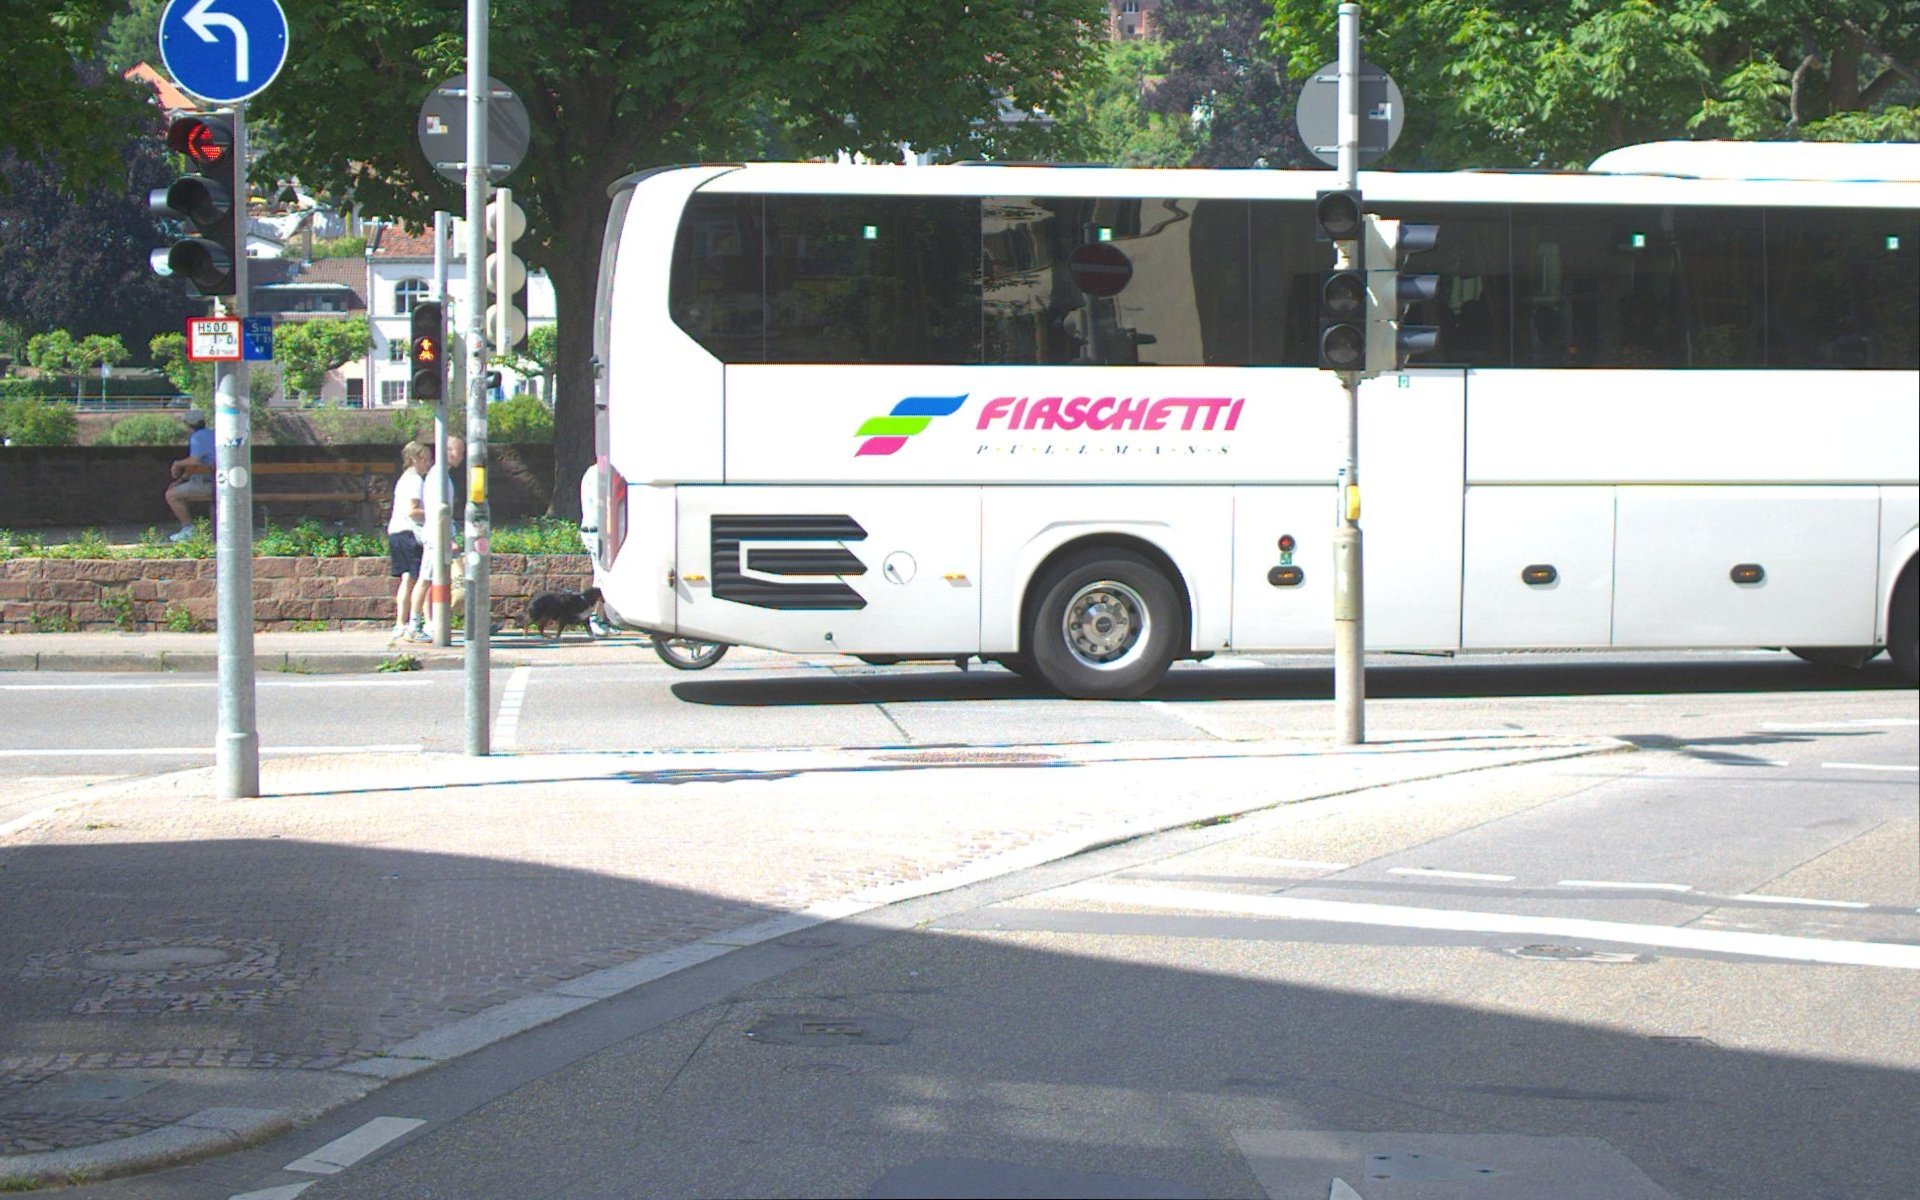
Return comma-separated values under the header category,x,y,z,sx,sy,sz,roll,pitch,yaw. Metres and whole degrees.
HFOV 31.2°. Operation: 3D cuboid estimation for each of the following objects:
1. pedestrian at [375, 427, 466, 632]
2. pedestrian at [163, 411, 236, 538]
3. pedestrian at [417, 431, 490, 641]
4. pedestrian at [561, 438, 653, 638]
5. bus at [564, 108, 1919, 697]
category,x,y,z,sx,sy,sz,roll,pitch,yaw
pedestrian,-4.810,-0.631,30.681,0.721,1.795,0.634,-1,1,-5
pedestrian,-7.396,-1.217,33.433,0.641,1.224,0.414,-1,2,-18
pedestrian,-4.390,-0.560,29.826,0.578,1.795,0.705,0,2,-5
pedestrian,-3.175,-0.553,30.901,0.688,1.763,0.718,-1,1,-13
bus,3.359,-1.341,24.401,12.137,3.775,2.908,0,2,-9
